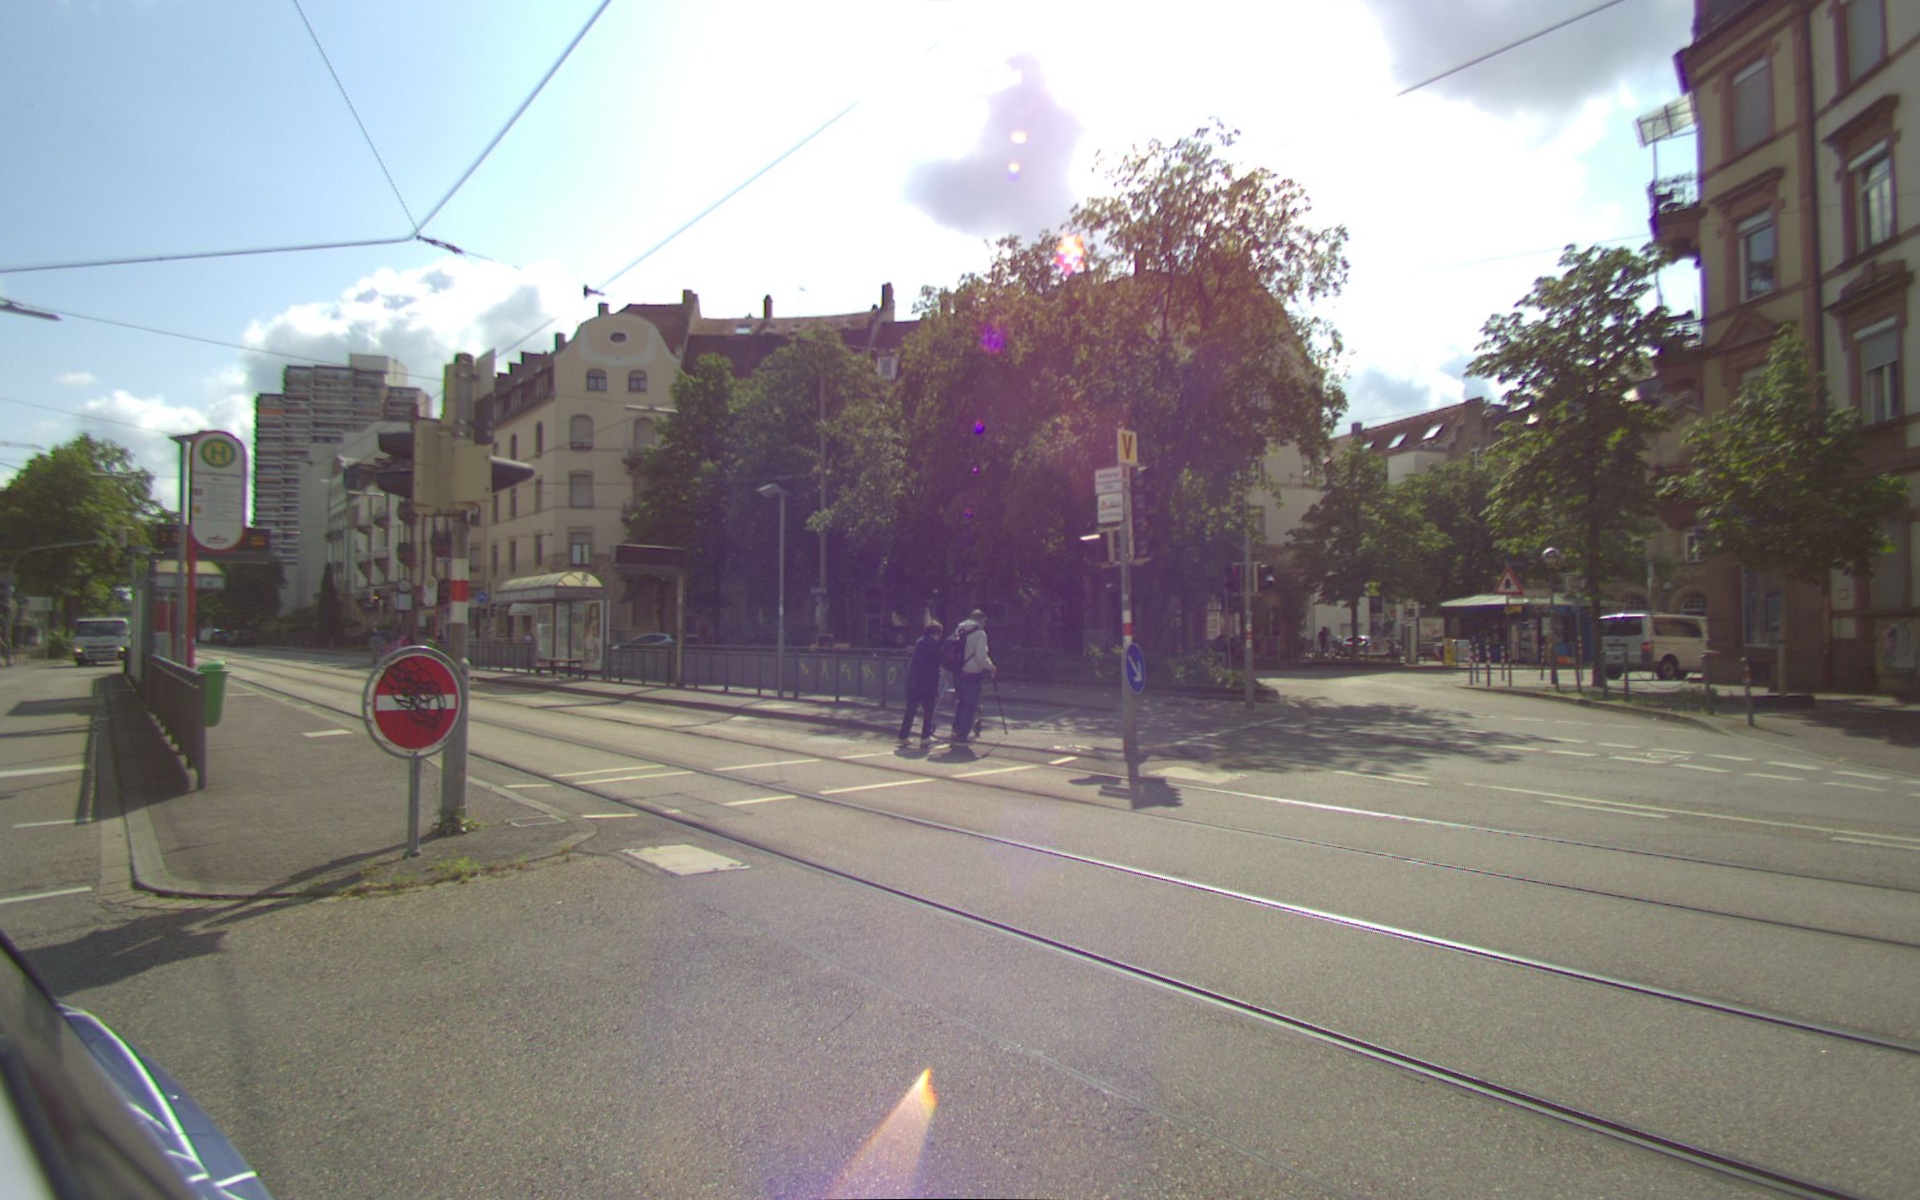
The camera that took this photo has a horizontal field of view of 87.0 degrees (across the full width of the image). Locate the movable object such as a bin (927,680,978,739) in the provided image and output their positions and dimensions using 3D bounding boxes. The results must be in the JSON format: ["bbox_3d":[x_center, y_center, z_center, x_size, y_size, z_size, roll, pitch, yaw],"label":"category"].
[{"bbox_3d":[-0.100,1.432,13.319,0.456,0.723,0.506,-2,-3,35],"label":"movable object such as a bin"}]

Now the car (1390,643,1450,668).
[{"bbox_3d":[30.611,3.674,67.407,1.637,1.549,3.417,1,-2,-21],"label":"car"}]

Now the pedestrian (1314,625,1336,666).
[{"bbox_3d":[18.146,2.272,50.296,0.703,2.029,0.694,1,-2,-21],"label":"pedestrian"}]

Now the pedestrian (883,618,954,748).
[{"bbox_3d":[-0.526,1.032,12.825,0.585,1.586,0.707,-2,-3,35],"label":"pedestrian"}]

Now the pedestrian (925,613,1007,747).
[{"bbox_3d":[0.078,0.968,12.516,0.692,1.586,0.773,-2,-3,35],"label":"pedestrian"}]

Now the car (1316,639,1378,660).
[{"bbox_3d":[24.540,3.120,64.275,1.436,1.342,3.776,1,-2,-25],"label":"car"}]

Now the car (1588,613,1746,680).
[{"bbox_3d":[21.455,1.397,30.711,4.191,1.922,2.006,1,-2,-24],"label":"car"}]

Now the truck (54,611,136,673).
[{"bbox_3d":[-41.208,1.984,48.384,2.492,2.759,6.529,1,-3,-37],"label":"truck"}]

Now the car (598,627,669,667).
[{"bbox_3d":[-16.911,2.417,52.407,3.368,1.866,1.618,-1,0,-21],"label":"car"}]

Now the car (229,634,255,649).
[{"bbox_3d":[-73.837,4.265,104.022,1.813,1.502,3.897,1,-3,-41],"label":"car"}]
